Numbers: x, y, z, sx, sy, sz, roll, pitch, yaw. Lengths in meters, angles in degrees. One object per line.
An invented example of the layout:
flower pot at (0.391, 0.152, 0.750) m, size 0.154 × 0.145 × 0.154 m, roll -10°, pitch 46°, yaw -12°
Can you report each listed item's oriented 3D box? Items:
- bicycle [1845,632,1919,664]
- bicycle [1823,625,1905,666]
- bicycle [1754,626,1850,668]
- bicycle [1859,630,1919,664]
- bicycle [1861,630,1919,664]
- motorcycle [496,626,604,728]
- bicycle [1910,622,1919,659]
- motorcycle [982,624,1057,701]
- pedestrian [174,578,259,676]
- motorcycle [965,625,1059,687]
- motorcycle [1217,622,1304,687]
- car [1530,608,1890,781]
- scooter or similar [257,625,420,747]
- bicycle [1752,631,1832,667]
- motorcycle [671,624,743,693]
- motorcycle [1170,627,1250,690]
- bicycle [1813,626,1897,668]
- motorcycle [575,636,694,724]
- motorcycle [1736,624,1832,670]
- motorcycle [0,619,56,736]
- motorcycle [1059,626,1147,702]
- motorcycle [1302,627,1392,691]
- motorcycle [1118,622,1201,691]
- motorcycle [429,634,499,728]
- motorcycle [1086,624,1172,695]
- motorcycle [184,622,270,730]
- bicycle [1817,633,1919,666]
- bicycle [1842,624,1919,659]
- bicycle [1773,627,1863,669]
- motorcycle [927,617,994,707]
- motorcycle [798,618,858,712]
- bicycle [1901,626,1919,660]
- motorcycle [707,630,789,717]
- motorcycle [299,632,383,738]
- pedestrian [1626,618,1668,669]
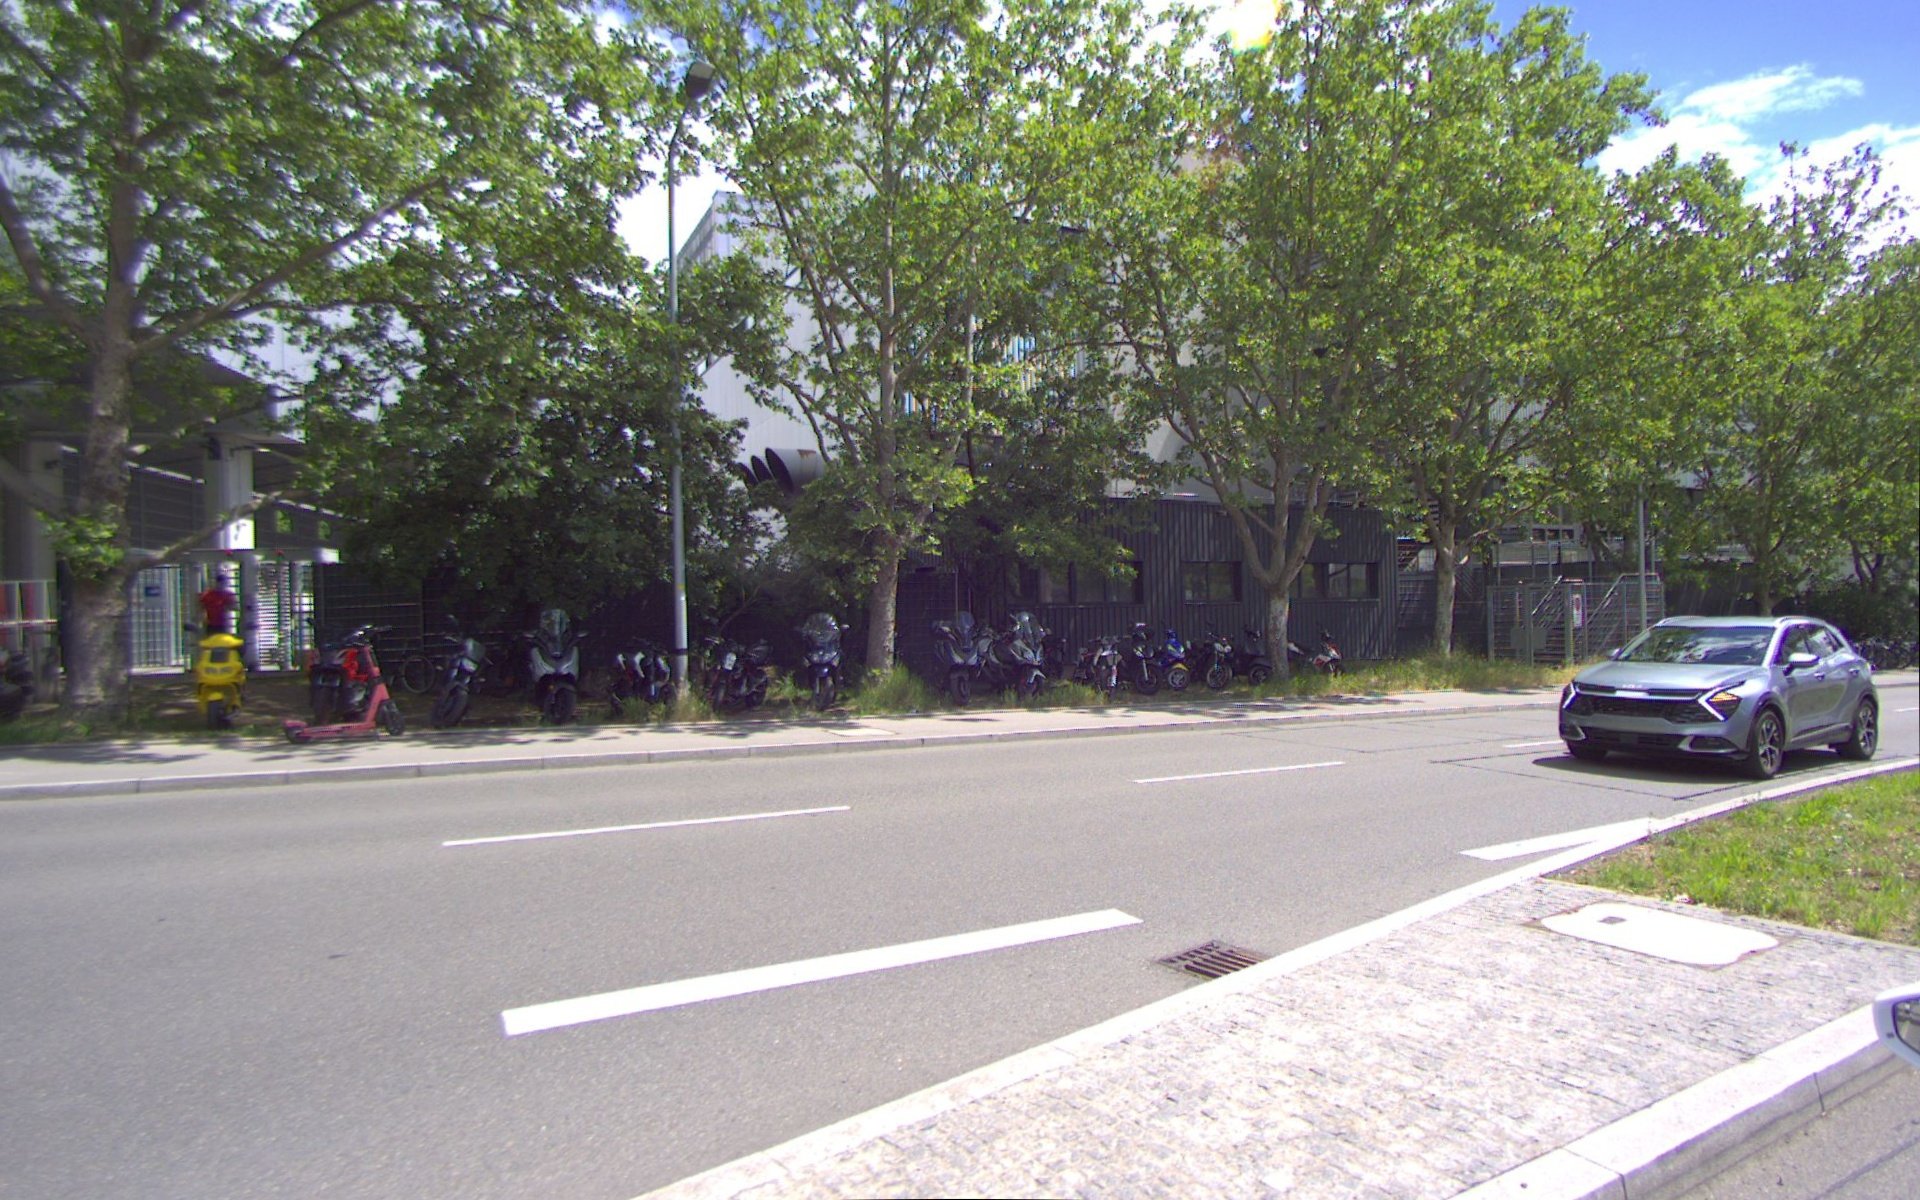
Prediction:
bicycle at (33.353, 1.694, 35.892) m, size 0.685 × 1.110 × 2.563 m, roll 0°, pitch -2°, yaw -19°
bicycle at (30.316, 1.507, 33.705) m, size 0.797 × 1.299 × 1.908 m, roll 1°, pitch -1°, yaw -31°
bicycle at (25.958, 1.427, 31.007) m, size 0.797 × 1.196 × 2.123 m, roll 1°, pitch -1°, yaw -31°
bicycle at (34.903, 1.722, 37.043) m, size 0.714 × 1.173 × 2.562 m, roll 0°, pitch 0°, yaw -19°
bicycle at (34.120, 1.689, 36.119) m, size 0.634 × 1.173 × 2.562 m, roll 0°, pitch 0°, yaw -19°
motorcycle at (-5.538, 0.992, 13.524) m, size 0.846 × 1.195 × 1.731 m, roll -1°, pitch 2°, yaw -40°
bicycle at (36.970, 1.530, 37.477) m, size 0.483 × 1.382 × 2.159 m, roll 0°, pitch -1°, yaw -27°
motorcycle at (1.016, 1.073, 17.782) m, size 0.801 × 1.195 × 1.878 m, roll 0°, pitch 2°, yaw -14°
pedestrian at (-13.558, 0.480, 18.331) m, size 0.966 × 1.724 × 0.884 m, roll 0°, pitch -1°, yaw 27°
motorcycle at (1.128, 1.198, 21.724) m, size 1.956 × 1.226 × 0.651 m, roll -1°, pitch 2°, yaw -26°
motorcycle at (6.146, 1.086, 20.670) m, size 0.719 × 1.202 × 1.875 m, roll 0°, pitch 1°, yaw -21°
car at (8.649, 0.940, 11.514) m, size 4.244 × 1.653 × 1.895 m, roll 1°, pitch -1°, yaw -32°
scooter or similar at (-6.732, 0.918, 10.940) m, size 1.462 × 1.252 × 0.352 m, roll 2°, pitch 0°, yaw -30°
bicycle at (26.339, 1.536, 31.832) m, size 0.417 × 1.089 × 1.914 m, roll 1°, pitch -1°, yaw -30°
motorcycle at (-4.665, 1.049, 18.634) m, size 0.903 × 1.131 × 1.937 m, roll 0°, pitch 1°, yaw -2°
motorcycle at (5.030, 1.156, 20.333) m, size 0.780 × 1.099 × 1.878 m, roll 0°, pitch 2°, yaw -14°
bicycle at (29.383, 1.532, 33.001) m, size 0.797 × 1.299 × 1.908 m, roll 1°, pitch -1°, yaw -31°
motorcycle at (-4.562, 1.094, 14.010) m, size 0.914 × 1.130 × 1.916 m, roll 3°, pitch -4°, yaw -40°
motorcycle at (24.945, 1.401, 30.456) m, size 0.797 × 1.326 × 2.123 m, roll 1°, pitch -1°, yaw -31°
motorcycle at (-10.664, 0.841, 10.829) m, size 0.764 × 1.187 × 1.739 m, roll -1°, pitch 2°, yaw -21°
motorcycle at (2.561, 1.123, 18.237) m, size 0.802 × 1.195 × 1.875 m, roll -1°, pitch 2°, yaw -20°
motorcycle at (8.148, 1.213, 21.244) m, size 0.734 × 1.189 × 1.875 m, roll -1°, pitch 2°, yaw -20°
motorcycle at (3.954, 1.087, 20.047) m, size 0.646 × 1.226 × 1.872 m, roll -1°, pitch 2°, yaw -25°
motorcycle at (-6.509, 1.027, 13.164) m, size 0.766 × 1.047 × 1.584 m, roll -1°, pitch 2°, yaw -28°
motorcycle at (3.214, 1.113, 19.303) m, size 0.689 × 1.195 × 1.872 m, roll -1°, pitch 2°, yaw -25°
motorcycle at (-8.845, 0.867, 12.095) m, size 0.769 × 1.138 × 1.578 m, roll -1°, pitch 2°, yaw -38°
bicycle at (31.737, 1.710, 34.972) m, size 0.843 × 1.020 × 2.813 m, roll 1°, pitch -1°, yaw -38°
bicycle at (31.284, 1.395, 34.075) m, size 0.797 × 1.137 × 1.908 m, roll 1°, pitch -1°, yaw -31°
bicycle at (28.275, 1.551, 33.135) m, size 0.797 × 1.299 × 2.123 m, roll 1°, pitch -1°, yaw -31°
motorcycle at (-0.021, 1.013, 17.095) m, size 0.849 × 1.362 × 1.935 m, roll 0°, pitch 2°, yaw -9°
motorcycle at (-2.105, 0.987, 15.922) m, size 0.876 × 1.308 × 1.935 m, roll 0°, pitch 2°, yaw -9°
bicycle at (36.083, 1.599, 36.736) m, size 0.548 × 1.274 × 2.395 m, roll 0°, pitch -1°, yaw -27°
motorcycle at (-3.204, 1.082, 15.360) m, size 0.903 × 1.131 × 1.937 m, roll 0°, pitch 1°, yaw -2°
motorcycle at (-7.734, 1.019, 12.611) m, size 0.766 × 1.138 × 1.584 m, roll -1°, pitch 2°, yaw -28°
pedestrian at (21.779, 1.361, 31.847) m, size 0.808 × 1.572 × 0.753 m, roll 1°, pitch 0°, yaw -20°
